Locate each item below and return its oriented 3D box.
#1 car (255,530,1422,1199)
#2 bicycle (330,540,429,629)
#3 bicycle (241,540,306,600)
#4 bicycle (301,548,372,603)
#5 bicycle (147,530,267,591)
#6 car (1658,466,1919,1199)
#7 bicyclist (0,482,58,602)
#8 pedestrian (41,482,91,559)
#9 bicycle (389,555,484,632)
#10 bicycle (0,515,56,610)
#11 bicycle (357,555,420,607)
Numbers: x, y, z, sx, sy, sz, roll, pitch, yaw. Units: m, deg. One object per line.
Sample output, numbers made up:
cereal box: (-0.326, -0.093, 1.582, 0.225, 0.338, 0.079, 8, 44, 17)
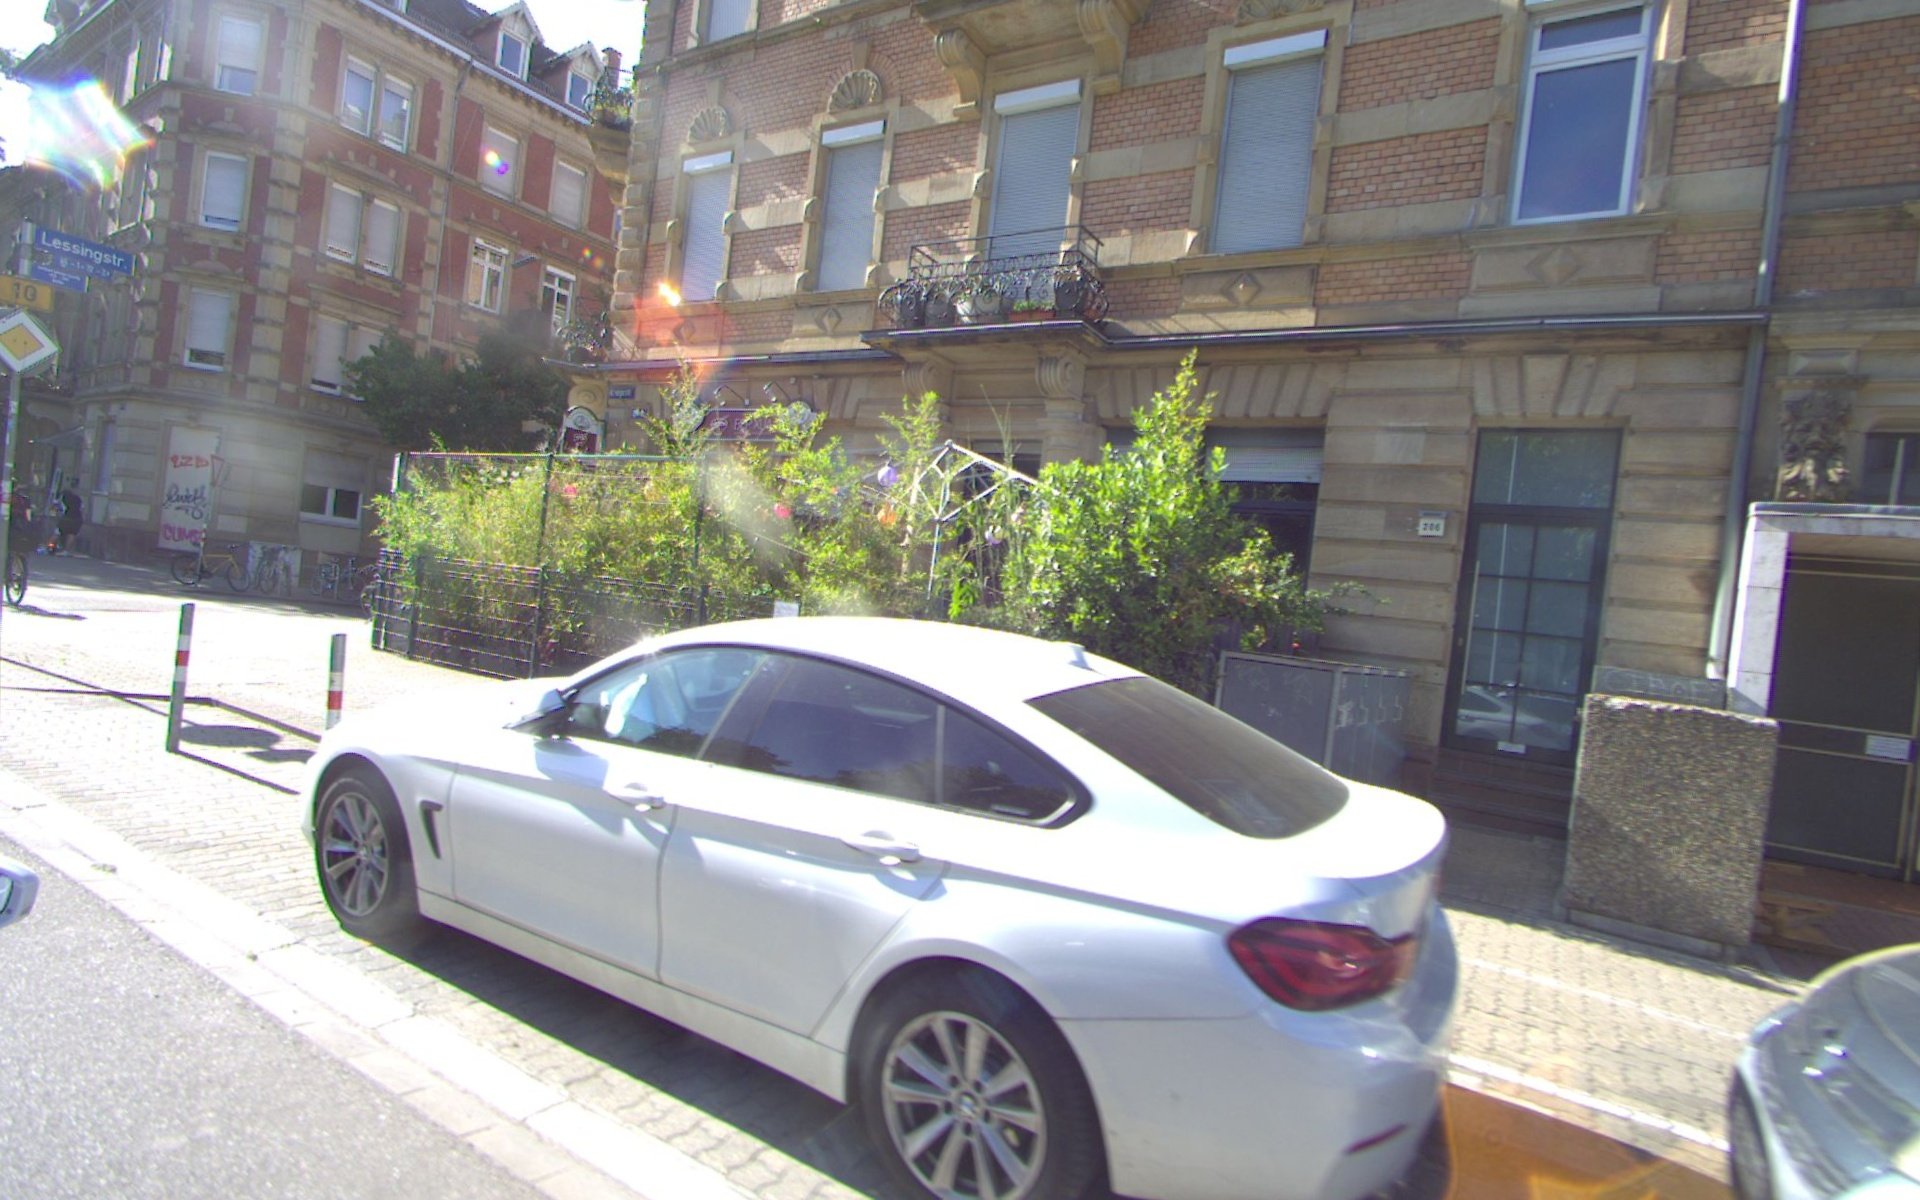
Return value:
car: (-0.689, 0.672, 3.806, 4.136, 1.444, 1.710, 7, 2, 32)
bicycle: (-10.613, -0.294, 18.362, 2.034, 1.414, 0.579, 7, 0, 33)
bicycle: (-16.281, -0.722, 23.831, 1.941, 1.108, 0.579, 10, 1, 37)
bicycle: (-15.637, -0.620, 25.209, 2.001, 1.145, 0.727, 6, 0, 36)
bicycle: (-16.899, -0.870, 22.622, 1.939, 1.108, 0.693, 7, 0, -13)
car: (3.620, 1.000, 1.232, 4.293, 1.866, 1.821, 7, 0, 33)
bicyclist: (-13.633, -0.867, 14.342, 1.082, 1.599, 0.743, 8, 0, 32)
pedestrian: (-22.624, -1.997, 25.469, 0.740, 1.836, 0.656, 3, -3, 36)
bicycle: (-10.050, -0.136, 19.290, 2.034, 1.250, 0.579, 7, 0, 33)
bicycle: (-13.716, -0.582, 14.315, 1.928, 1.235, 0.741, 7, 2, 33)
bicycle: (-14.909, -0.492, 26.217, 2.001, 1.145, 0.560, 6, 0, 36)
